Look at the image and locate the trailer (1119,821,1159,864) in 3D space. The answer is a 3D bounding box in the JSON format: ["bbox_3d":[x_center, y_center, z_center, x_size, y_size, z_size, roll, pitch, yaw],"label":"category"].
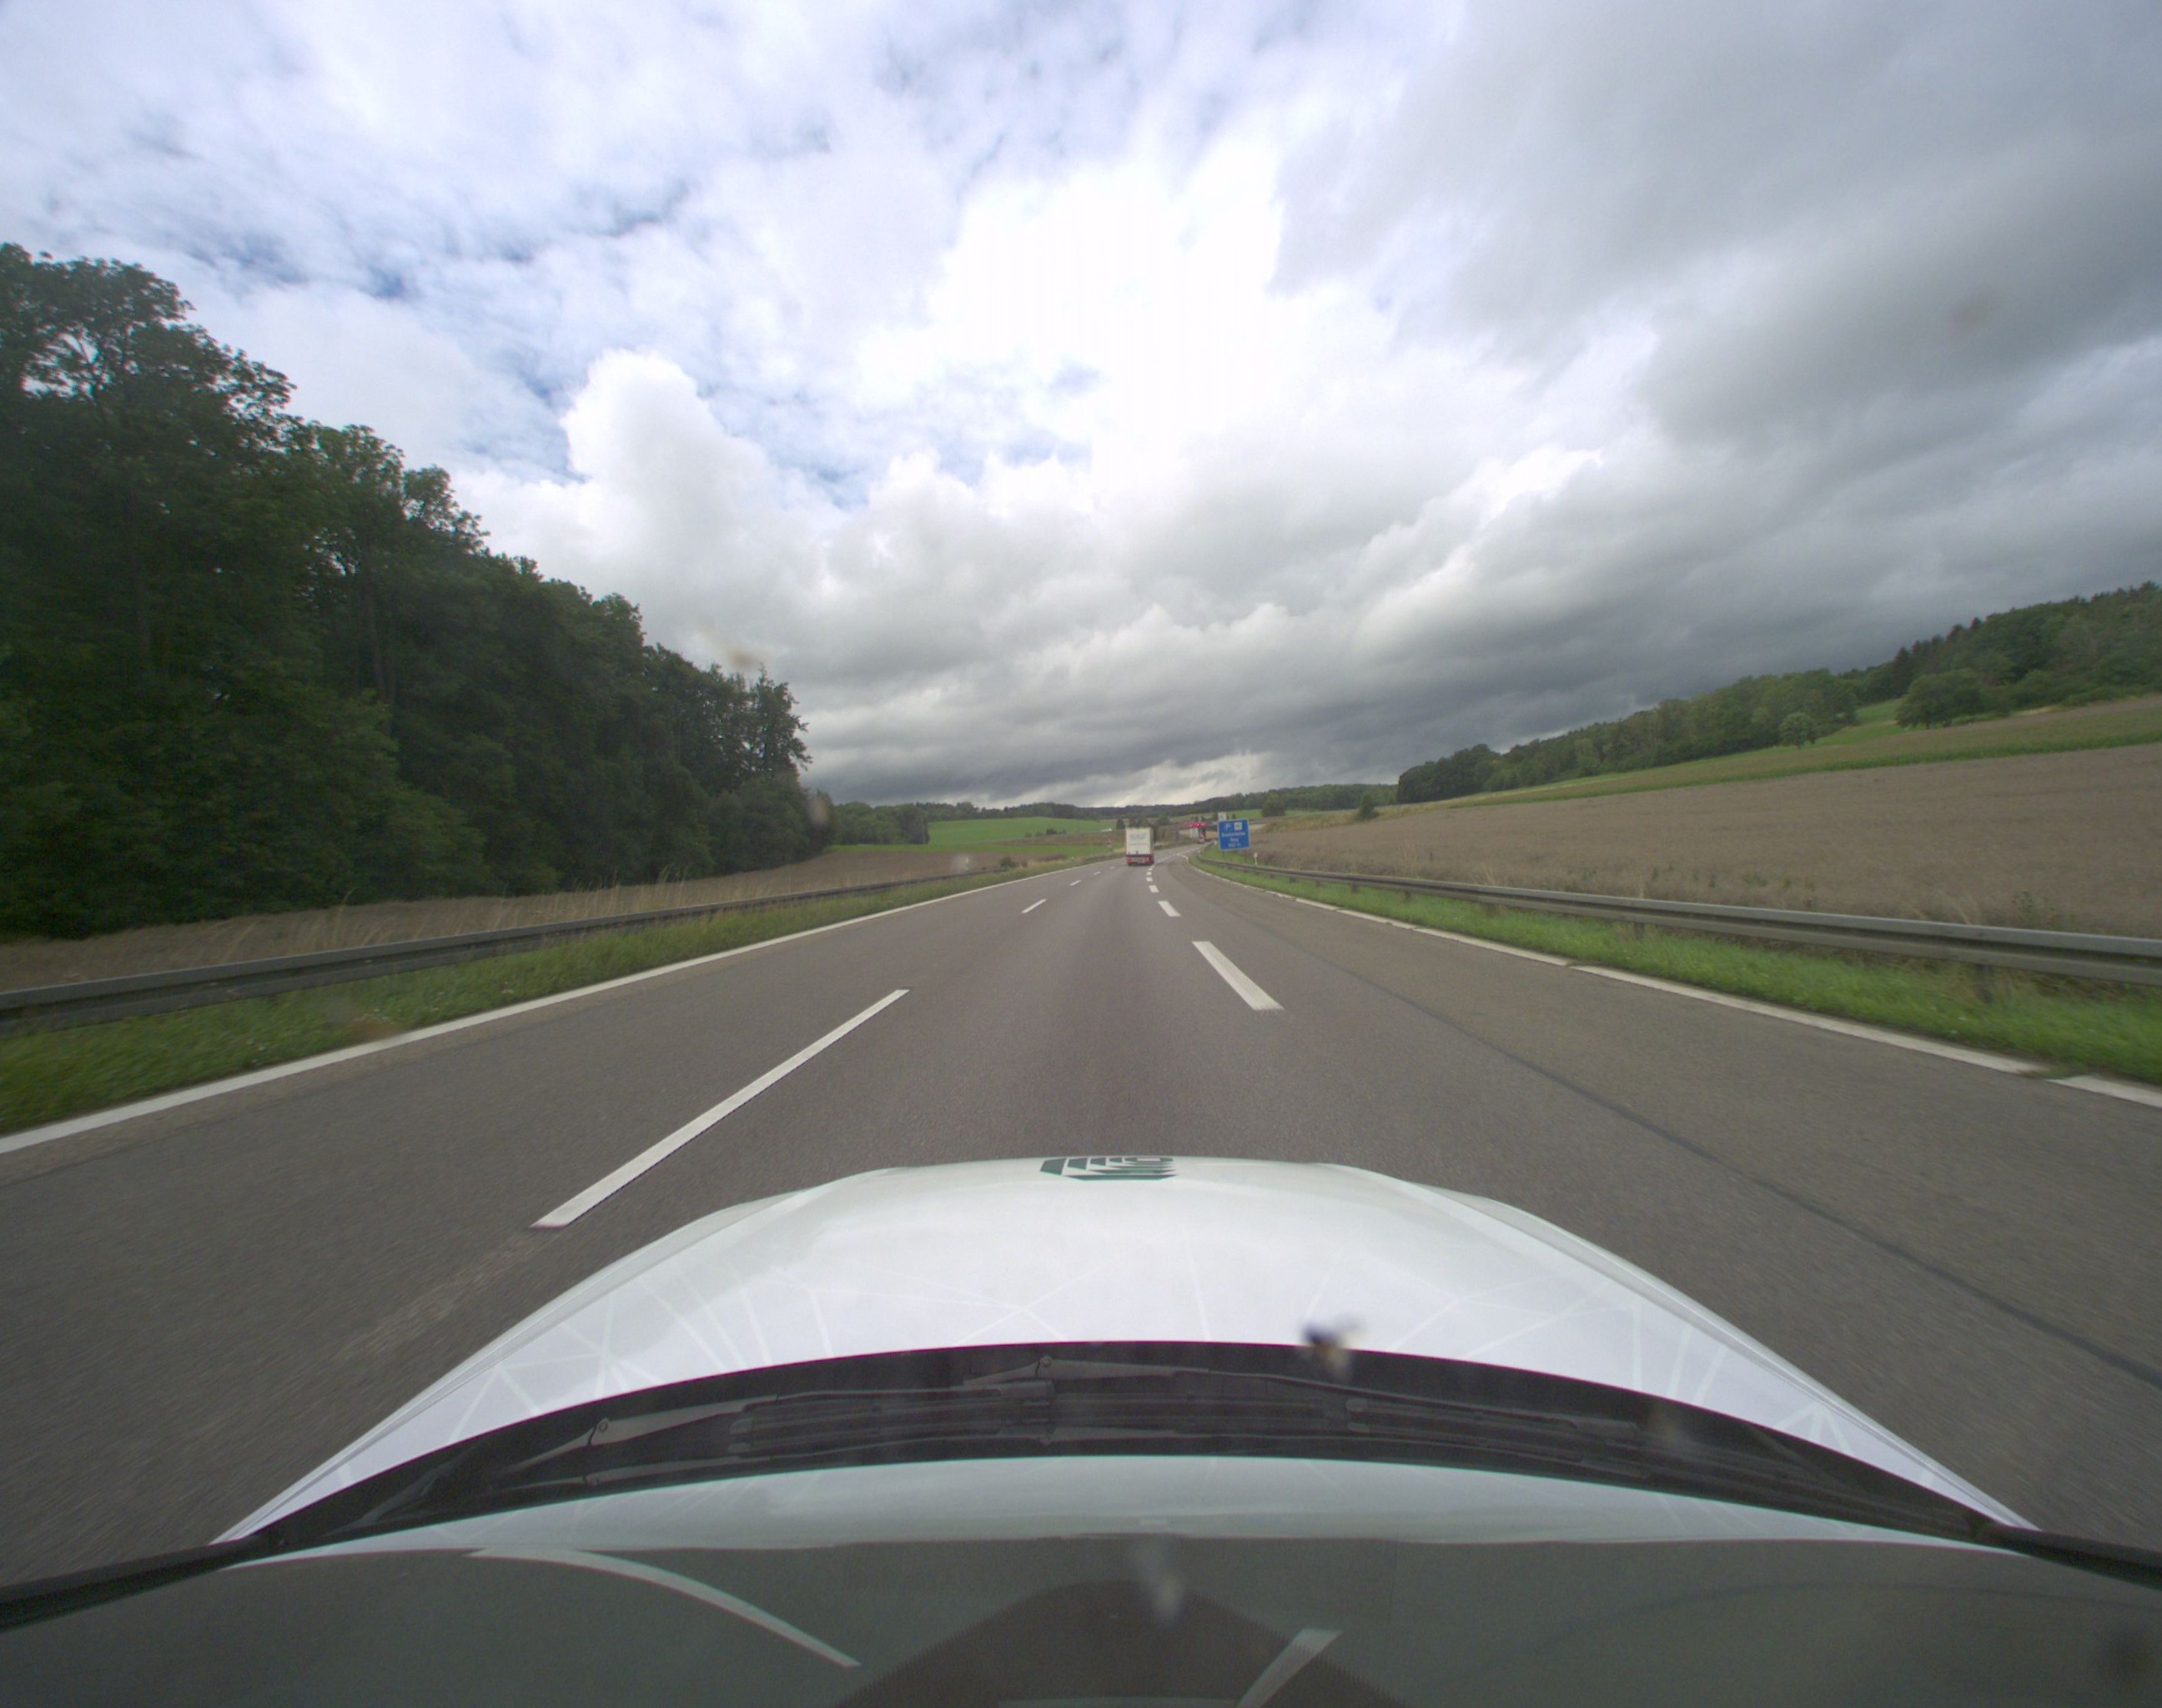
[{"bbox_3d":[6.520,-1.172,89.266,3.787,4.174,14.831,-2,0,5],"label":"trailer"}]

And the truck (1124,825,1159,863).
[{"bbox_3d":[7.219,-1.109,96.503,3.769,4.132,8.277,-3,0,5],"label":"truck"}]
